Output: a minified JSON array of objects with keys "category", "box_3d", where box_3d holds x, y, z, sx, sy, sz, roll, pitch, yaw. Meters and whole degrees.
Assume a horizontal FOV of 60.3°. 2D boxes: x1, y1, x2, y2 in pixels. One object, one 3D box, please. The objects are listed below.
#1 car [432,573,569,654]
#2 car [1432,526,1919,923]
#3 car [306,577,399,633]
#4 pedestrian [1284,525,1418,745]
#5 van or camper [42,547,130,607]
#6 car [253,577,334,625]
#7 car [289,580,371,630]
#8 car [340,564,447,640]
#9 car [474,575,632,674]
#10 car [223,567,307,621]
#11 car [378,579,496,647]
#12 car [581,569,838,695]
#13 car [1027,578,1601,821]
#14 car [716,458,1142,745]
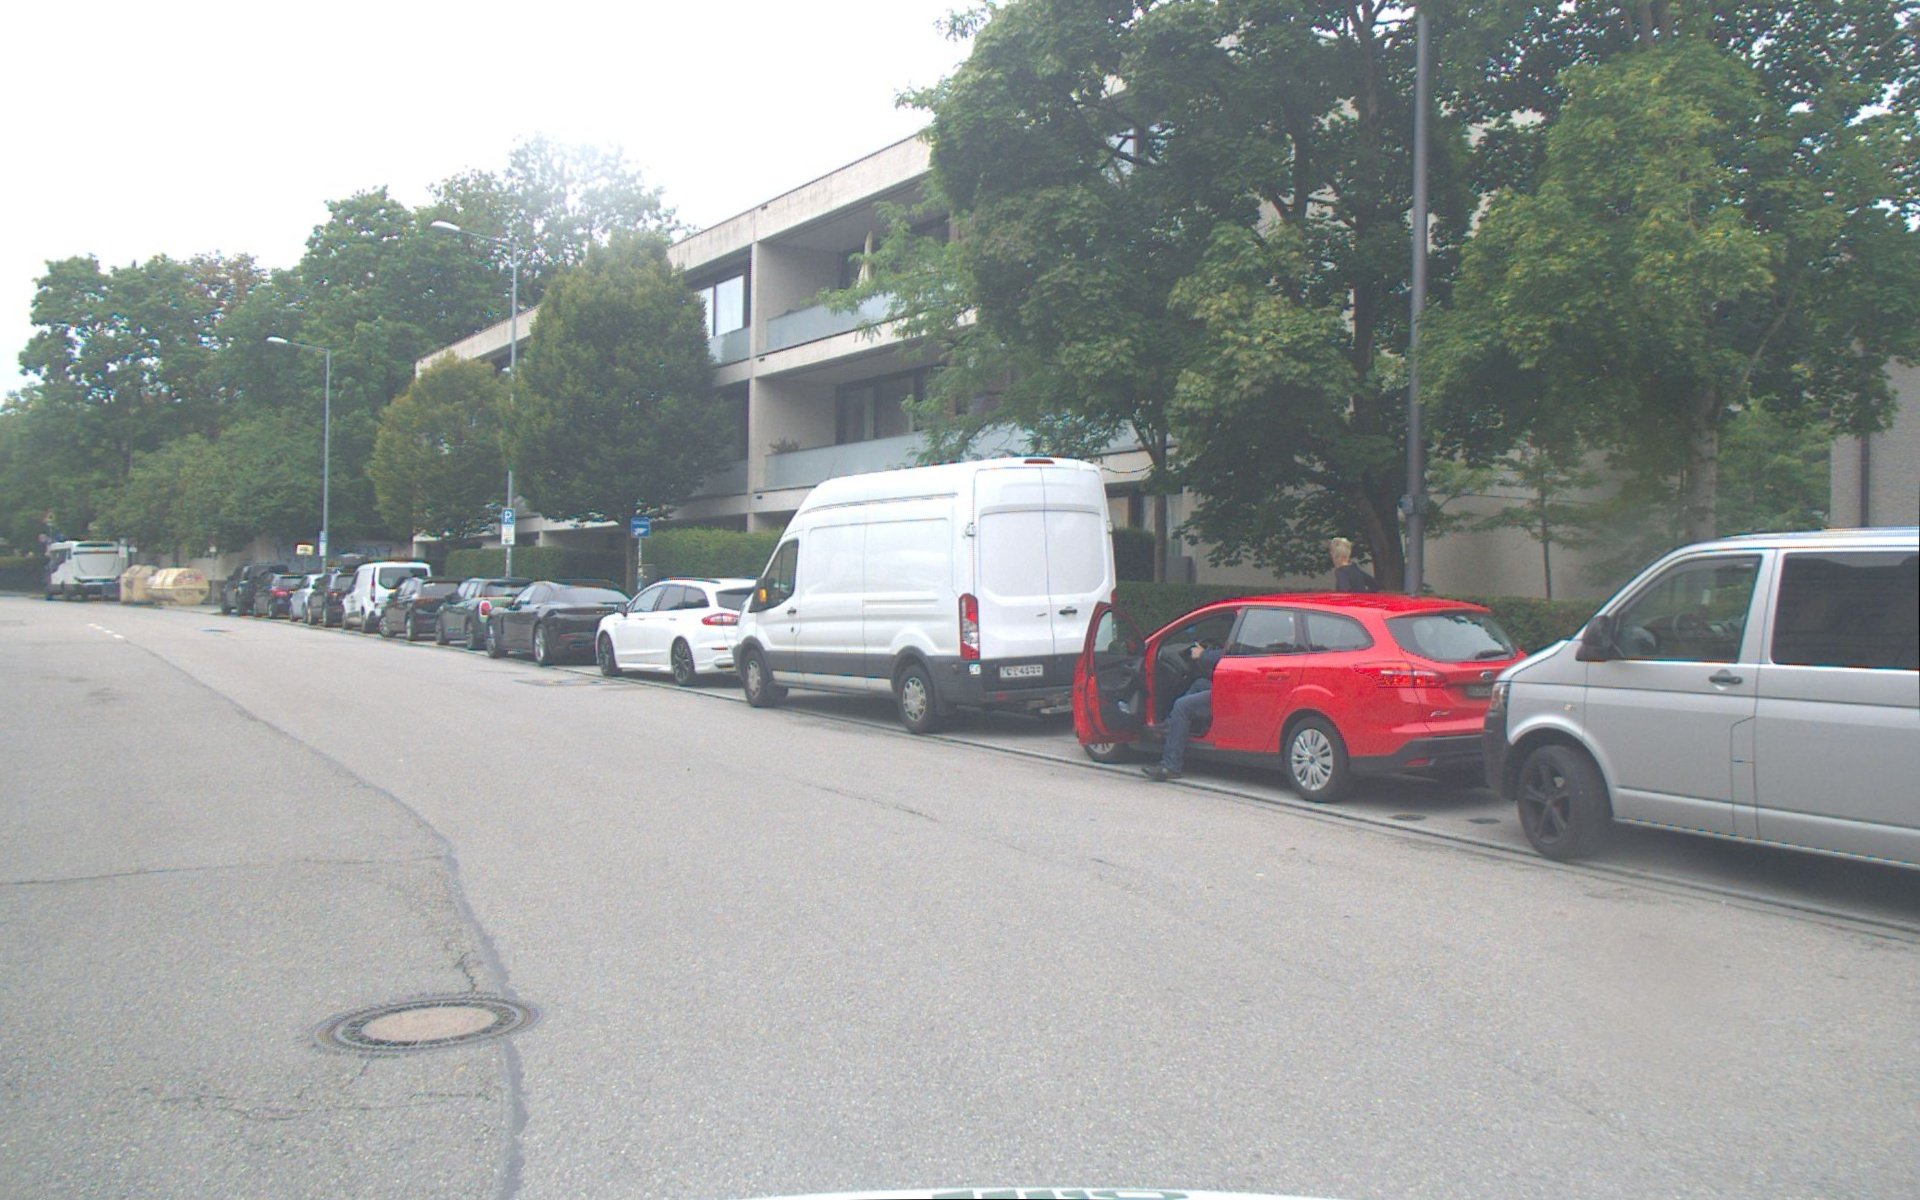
[{"category":"car","box_3d":[-9.689,0.230,34.656,1.710,1.555,4.160,-1,2,-31]},{"category":"car","box_3d":[5.157,0.565,9.141,1.915,1.938,5.021,-2,2,-30]},{"category":"car","box_3d":[-17.896,0.134,48.625,1.730,1.506,4.549,2,0,-31]},{"category":"pedestrian","box_3d":[3.568,0.309,15.124,0.785,1.937,0.858,2,0,-25]},{"category":"van or camper","box_3d":[-45.535,-1.200,86.089,2.261,2.957,7.162,1,0,-43]},{"category":"car","box_3d":[-23.163,0.015,57.392,1.732,1.566,4.516,1,0,-34]},{"category":"car","box_3d":[-20.079,0.140,52.645,1.731,1.506,3.846,1,0,-32]},{"category":"car","box_3d":[-15.220,0.021,44.285,1.803,1.893,4.849,2,0,-30]},{"category":"car","box_3d":[-7.403,0.365,29.727,1.268,1.532,5.152,-2,2,-31]},{"category":"car","box_3d":[-26.021,-0.200,61.867,1.970,1.904,5.018,2,-1,-34]},{"category":"car","box_3d":[-12.441,0.273,39.167,1.730,1.489,4.197,0,1,-31]},{"category":"car","box_3d":[-3.857,0.376,24.703,1.855,1.596,4.942,-2,3,-34]},{"category":"car","box_3d":[2.675,0.642,13.699,1.853,1.533,4.784,-2,2,-32]},{"category":"car","box_3d":[-0.608,-0.083,18.901,2.060,2.733,6.020,-1,2,-32]}]
